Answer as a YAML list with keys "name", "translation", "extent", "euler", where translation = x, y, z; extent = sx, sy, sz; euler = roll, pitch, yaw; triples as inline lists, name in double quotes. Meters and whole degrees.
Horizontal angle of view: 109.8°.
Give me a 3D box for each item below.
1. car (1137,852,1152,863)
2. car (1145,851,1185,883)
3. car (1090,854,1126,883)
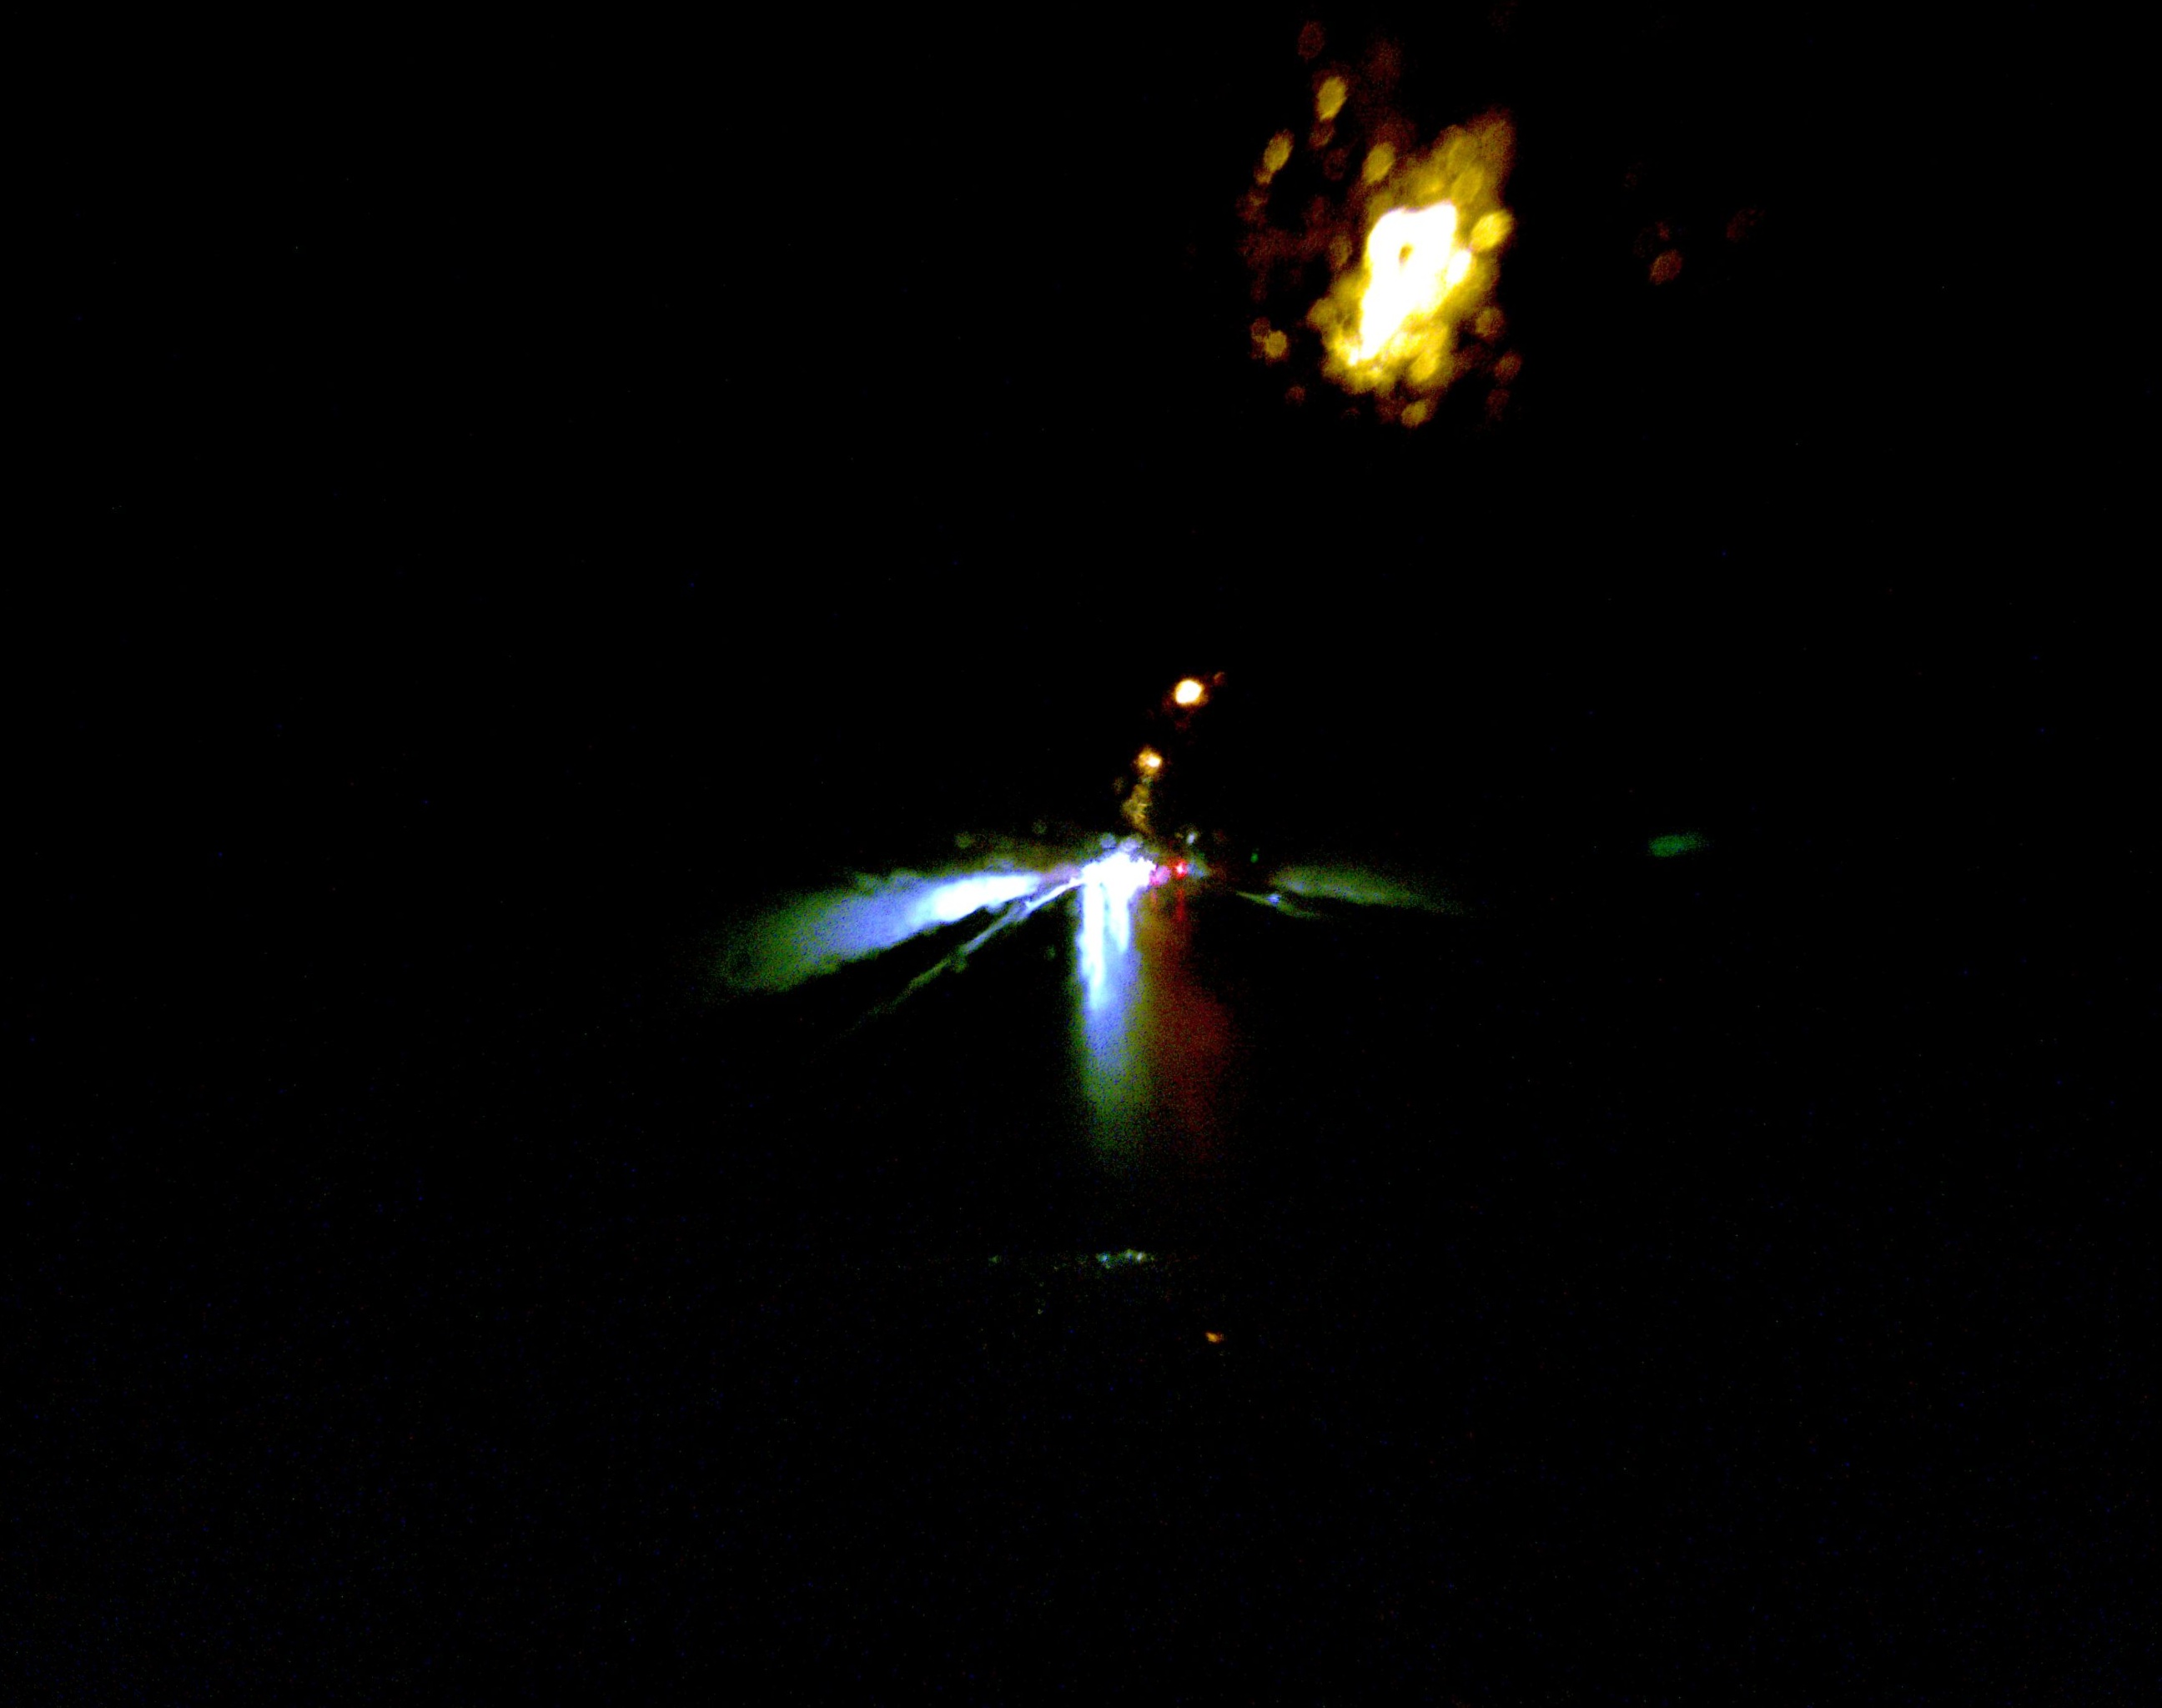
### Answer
- name: "car"
  translation: [9.507, 0.534, 113.998]
  extent: [1.998, 1.576, 4.000]
  euler: [-3, 1, 2]
- name: "car"
  translation: [4.606, 0.701, 42.069]
  extent: [1.998, 1.576, 4.001]
  euler: [-2, 1, 4]
- name: "car"
  translation: [1.634, 0.844, 46.165]
  extent: [1.998, 1.576, 4.000]
  euler: [-2, 1, 2]
